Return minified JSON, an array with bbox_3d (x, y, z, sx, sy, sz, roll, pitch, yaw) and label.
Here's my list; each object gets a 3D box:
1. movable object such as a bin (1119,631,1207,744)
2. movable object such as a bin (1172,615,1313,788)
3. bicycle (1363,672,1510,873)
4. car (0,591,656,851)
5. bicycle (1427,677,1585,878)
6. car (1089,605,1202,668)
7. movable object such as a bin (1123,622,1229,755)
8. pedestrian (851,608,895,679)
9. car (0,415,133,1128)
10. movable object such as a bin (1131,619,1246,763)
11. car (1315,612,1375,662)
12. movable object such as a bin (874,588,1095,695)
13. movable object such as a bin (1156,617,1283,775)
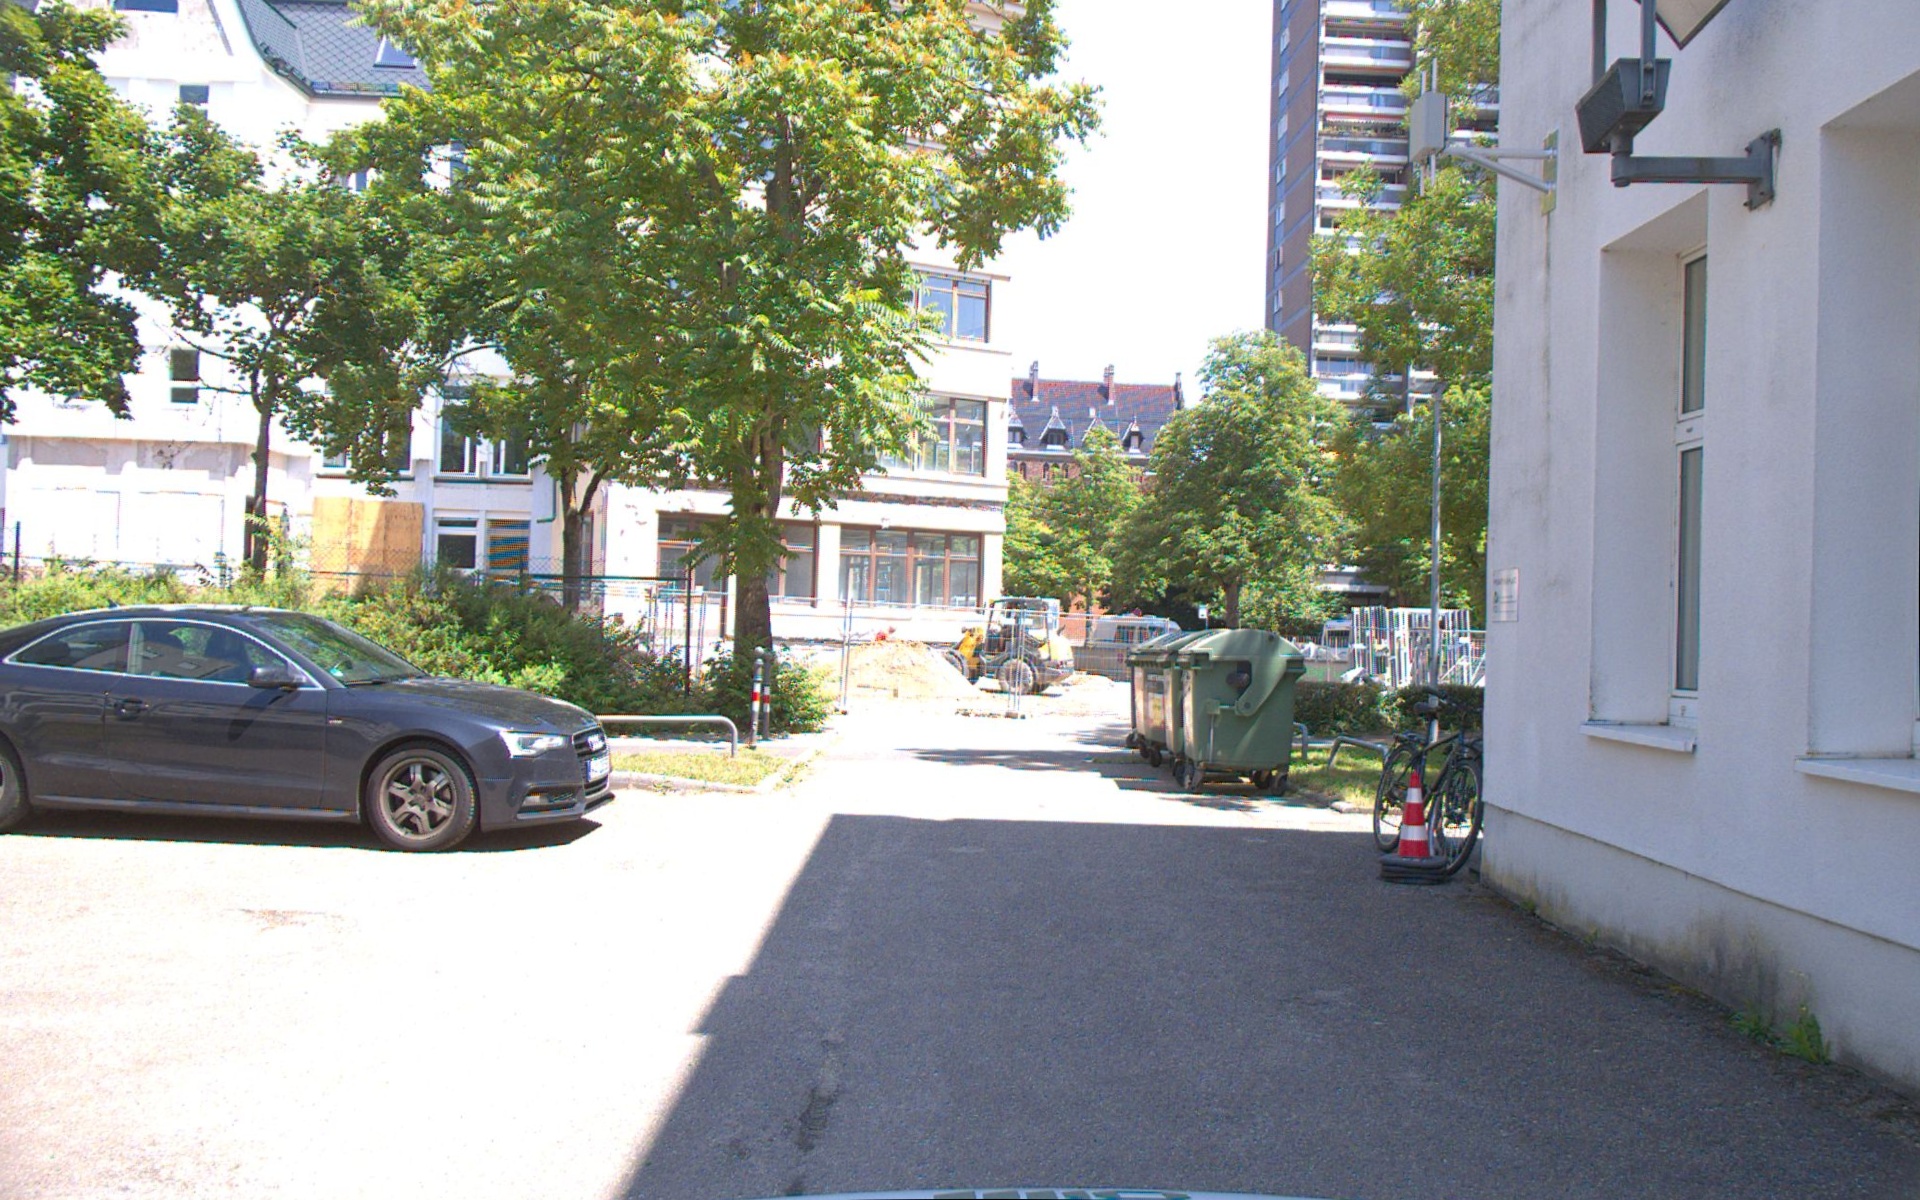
[{"bbox_3d":[2.806,1.198,23.011,1.053,1.483,1.377,1,-2,1],"label":"movable object such as a bin"},{"bbox_3d":[2.563,0.904,15.171,1.053,1.483,1.377,1,-2,1],"label":"movable object such as a bin"},{"bbox_3d":[2.999,1.044,10.544,0.396,1.121,1.826,1,-2,0],"label":"bicycle"},{"bbox_3d":[-4.338,0.708,10.565,4.337,1.404,2.024,1,-2,2],"label":"car"},{"bbox_3d":[3.457,1.081,10.599,0.396,1.121,1.826,1,-2,0],"label":"bicycle"},{"bbox_3d":[7.597,1.490,68.294,1.971,2.459,5.193,2,-2,-29],"label":"car"},{"bbox_3d":[2.528,1.027,19.506,1.053,1.483,1.377,1,-2,1],"label":"movable object such as a bin"},{"bbox_3d":[-2.376,1.178,45.082,0.901,1.879,0.980,2,-2,-21],"label":"pedestrian"},{"bbox_3d":[-4.960,0.394,4.063,4.747,1.916,2.068,1,-2,2],"label":"car"},{"bbox_3d":[2.474,0.975,18.085,1.053,1.483,1.377,1,-2,1],"label":"movable object such as a bin"},{"bbox_3d":[18.716,1.819,80.321,2.139,2.298,4.868,1,-2,21],"label":"car"},{"bbox_3d":[0.642,1.082,44.047,5.301,2.507,2.364,3,-1,28],"label":"movable object such as a bin"},{"bbox_3d":[2.582,0.941,16.614,1.053,1.483,1.377,1,-2,1],"label":"movable object such as a bin"}]
